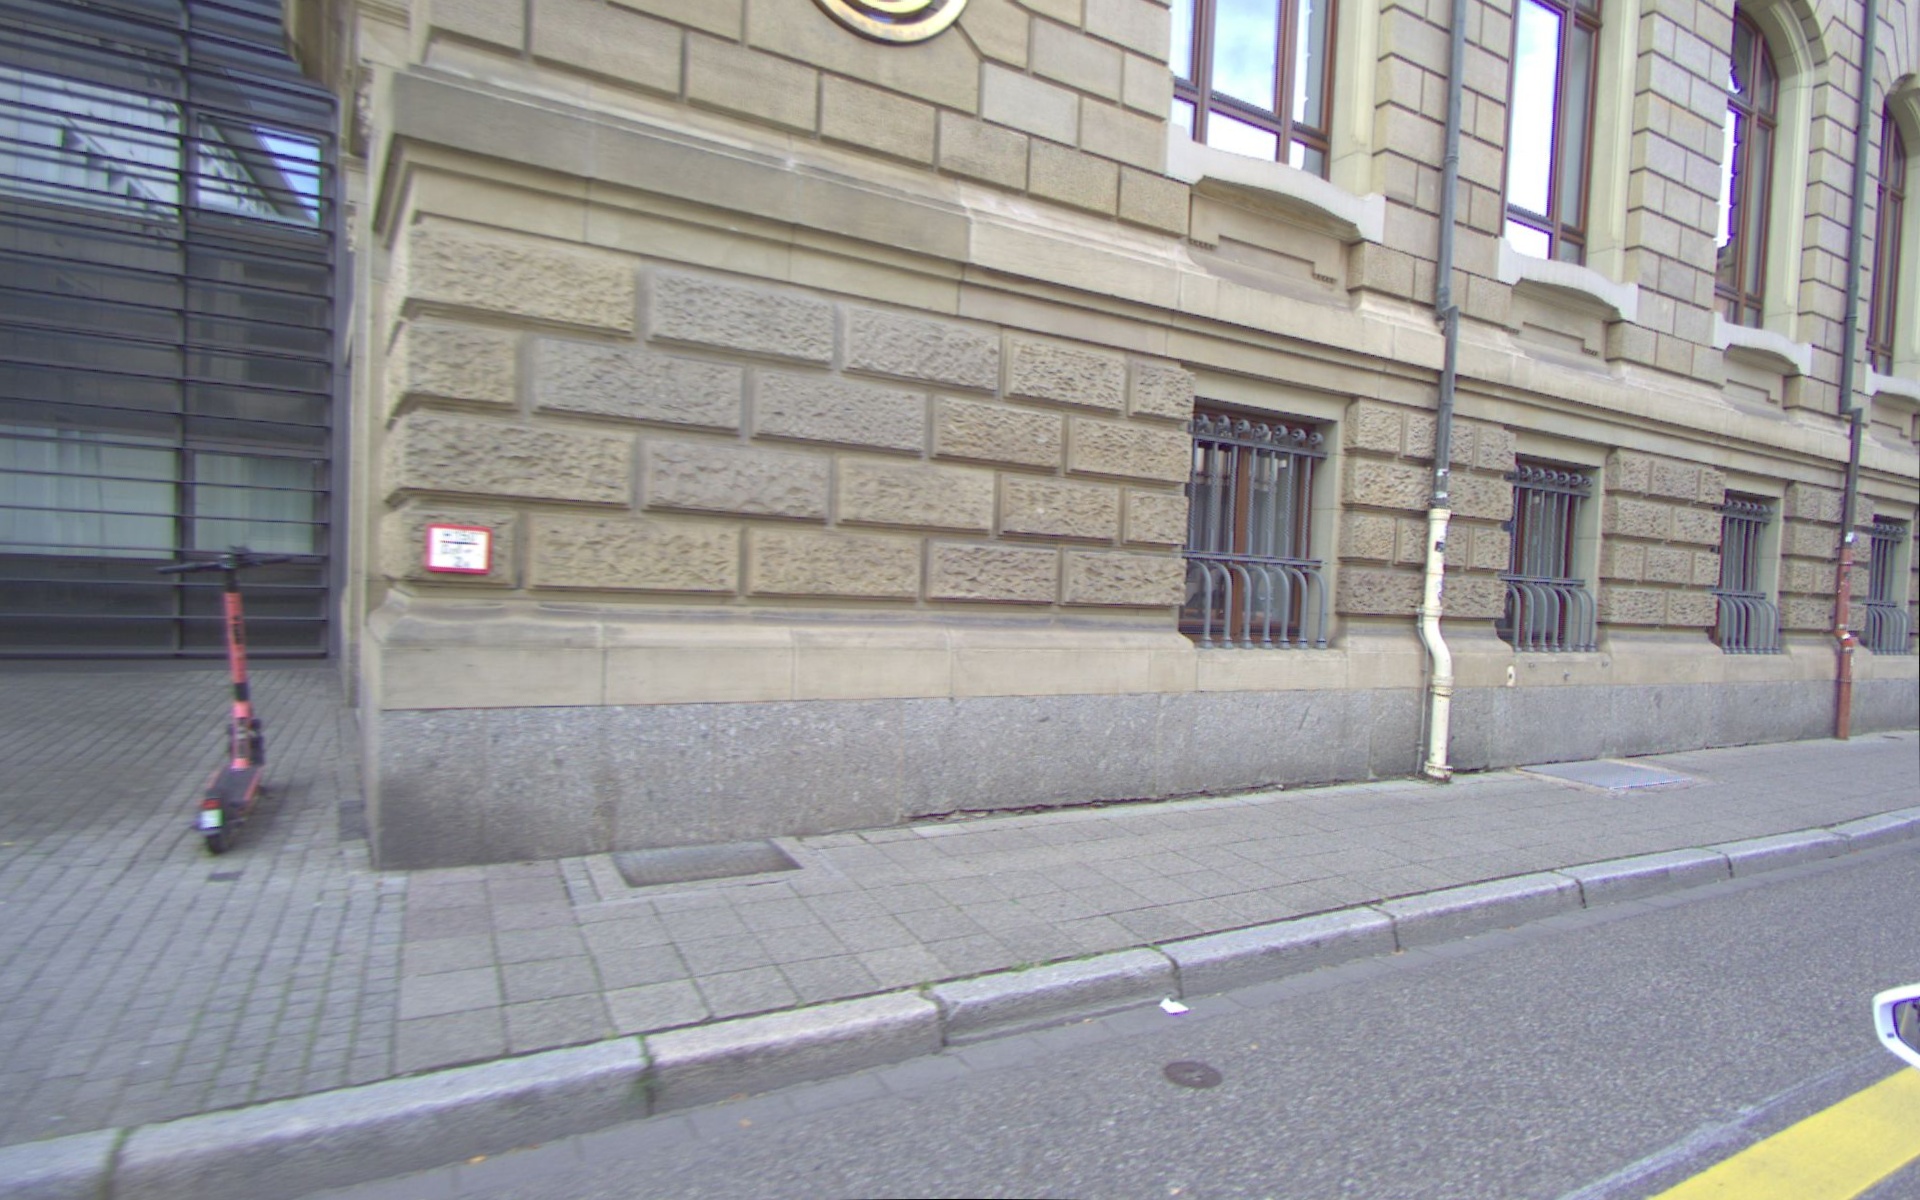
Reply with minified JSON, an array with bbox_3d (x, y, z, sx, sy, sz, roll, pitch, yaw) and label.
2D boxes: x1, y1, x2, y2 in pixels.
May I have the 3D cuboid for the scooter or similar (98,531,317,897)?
[{"bbox_3d":[-3.265,0.390,4.476,0.580,1.328,1.439,0,5,-29],"label":"scooter or similar"}]
